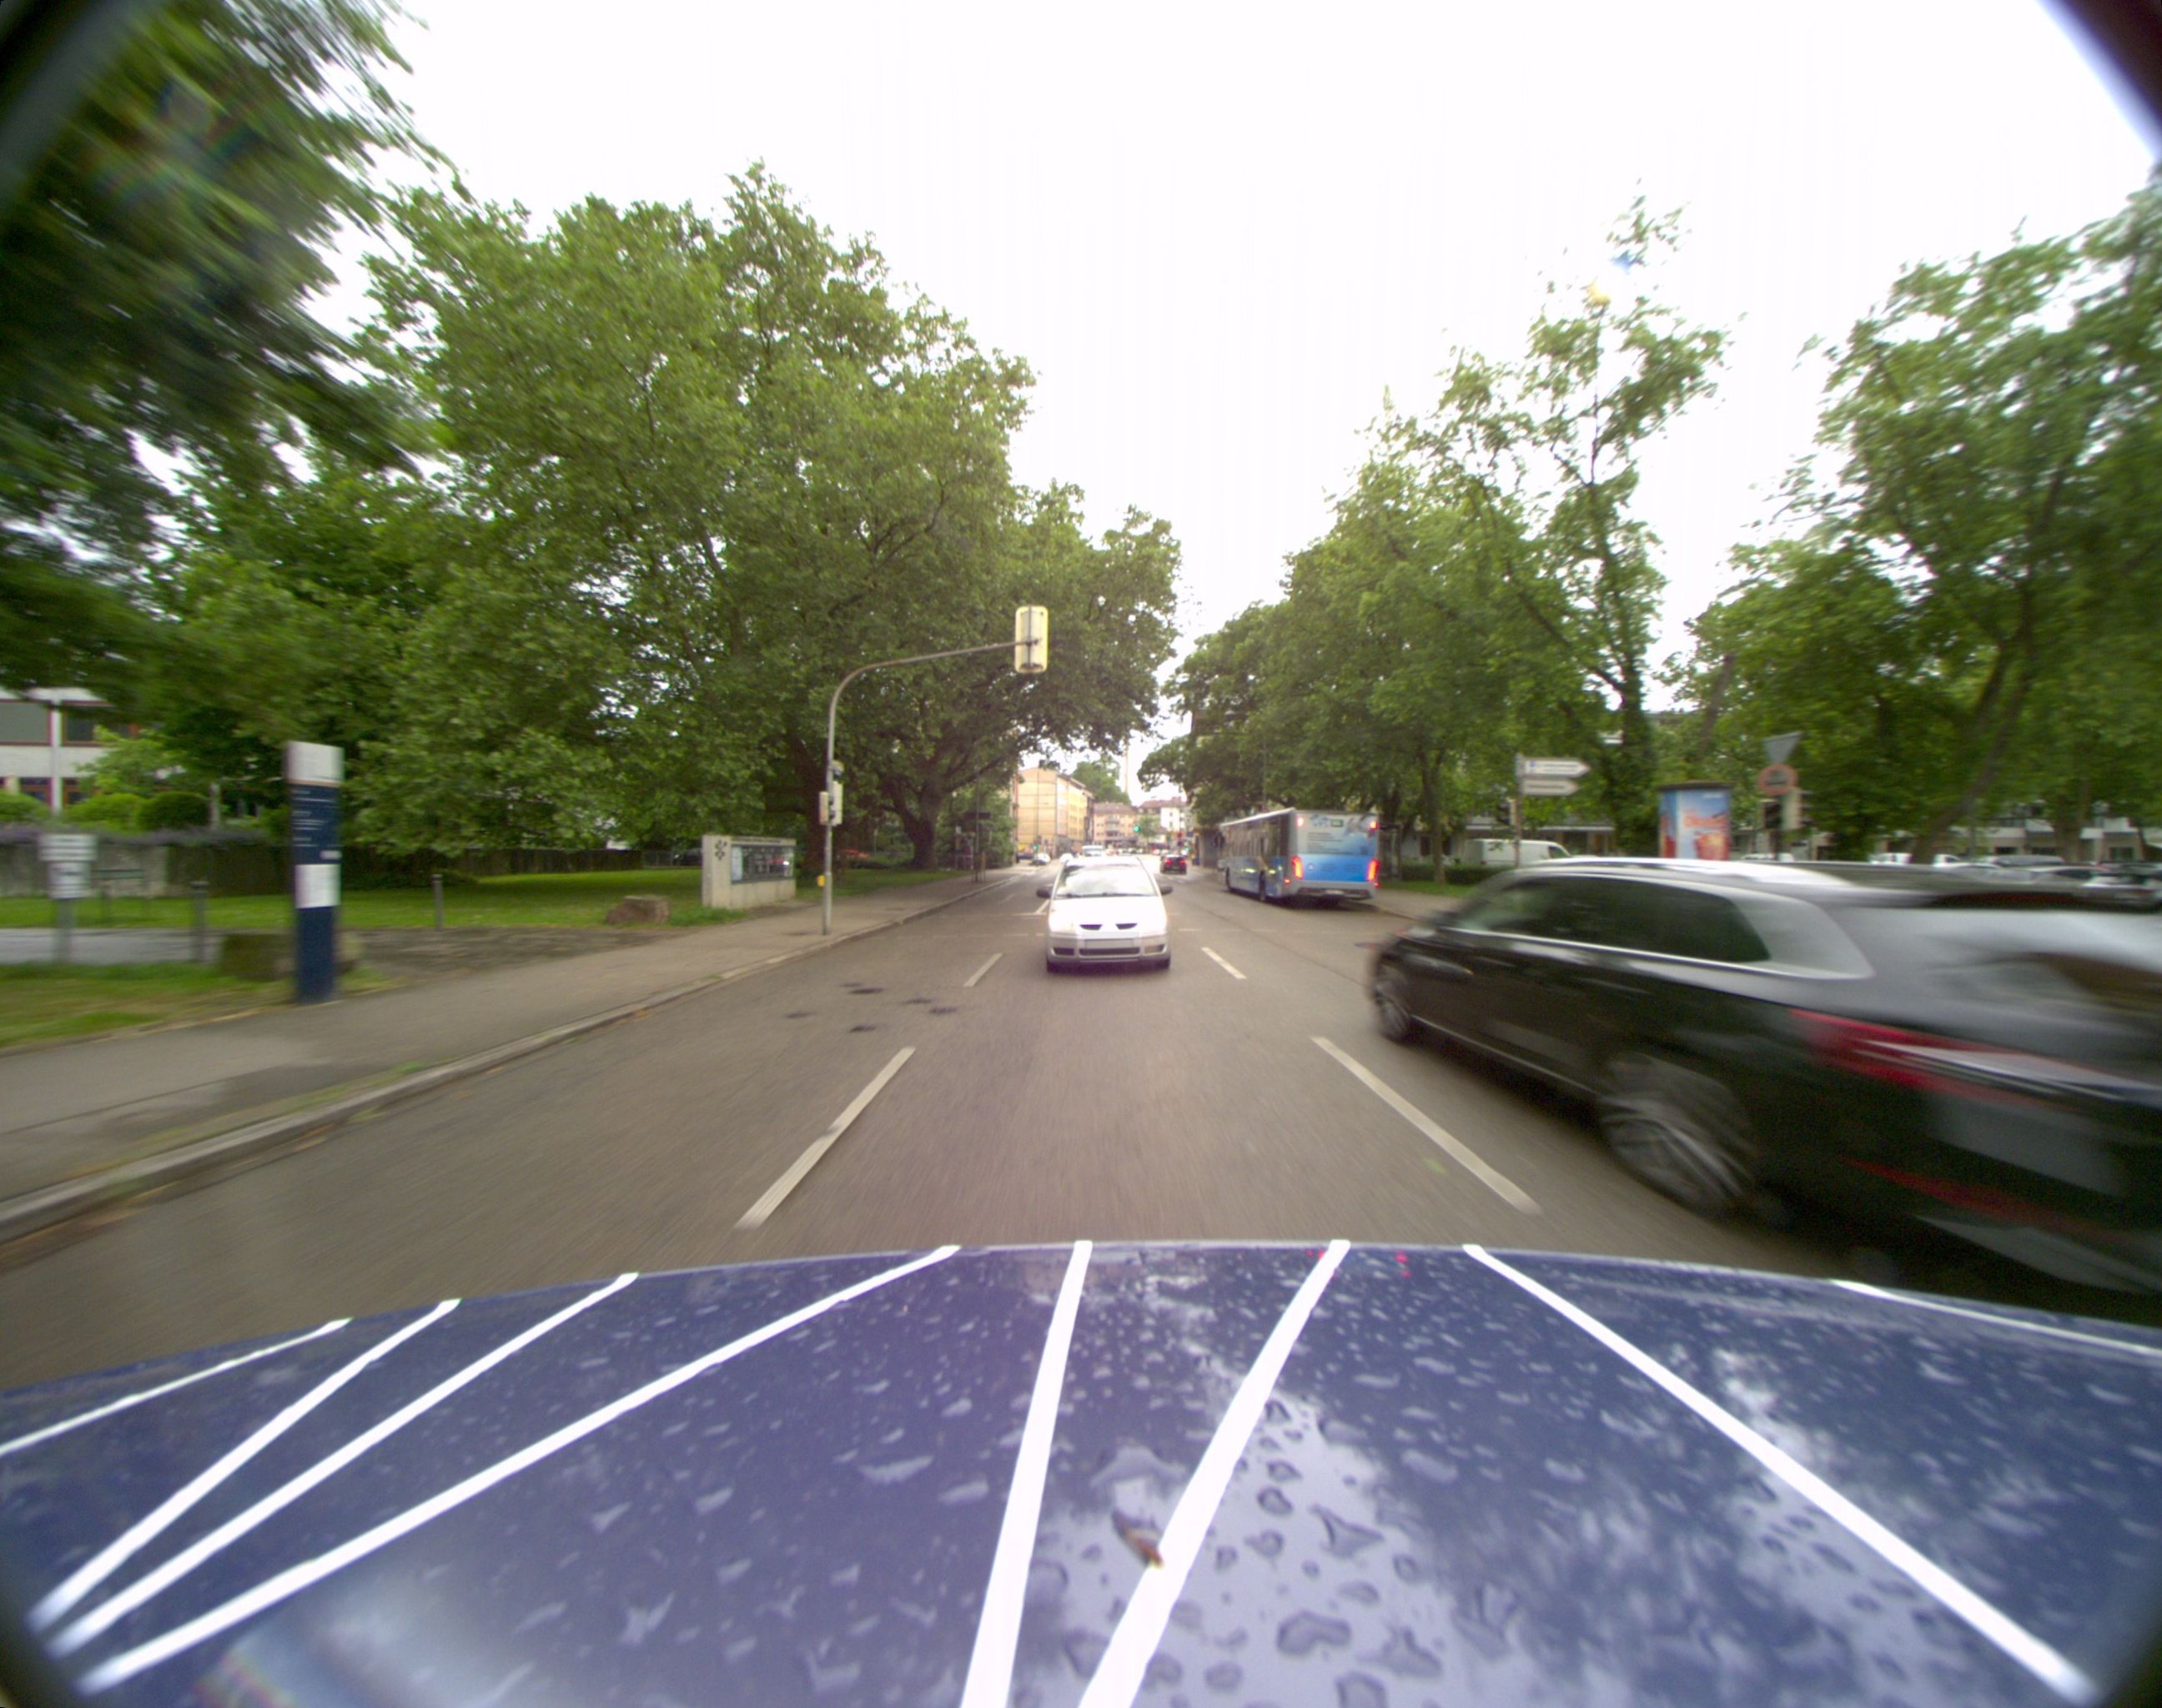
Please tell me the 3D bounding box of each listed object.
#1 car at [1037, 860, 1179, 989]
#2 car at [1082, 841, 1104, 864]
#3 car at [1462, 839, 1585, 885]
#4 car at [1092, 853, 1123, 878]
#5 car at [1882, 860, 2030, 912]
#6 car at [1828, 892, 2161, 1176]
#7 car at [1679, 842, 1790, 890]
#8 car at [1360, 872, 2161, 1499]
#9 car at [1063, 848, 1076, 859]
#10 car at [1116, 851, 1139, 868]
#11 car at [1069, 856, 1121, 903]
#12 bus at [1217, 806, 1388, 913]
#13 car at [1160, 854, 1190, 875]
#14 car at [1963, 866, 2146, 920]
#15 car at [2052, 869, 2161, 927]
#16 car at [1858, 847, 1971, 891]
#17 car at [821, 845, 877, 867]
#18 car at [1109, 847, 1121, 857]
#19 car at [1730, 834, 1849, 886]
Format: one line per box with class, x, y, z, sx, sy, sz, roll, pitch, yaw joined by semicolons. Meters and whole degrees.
car;0.356;0.897;11.839;1.718;1.509;4.807;-2;0;0
car;1.176;-0.174;72.407;2.037;2.119;4.000;0;1;2
car;19.197;0.332;33.059;4.334;1.911;1.702;1;0;-2
car;1.730;0.713;48.315;1.800;1.449;4.492;1;0;4
car;29.741;1.063;25.860;3.745;1.654;1.701;1;0;-12
car;6.672;1.054;3.599;1.817;1.407;4.809;2;1;6
car;37.554;0.671;43.773;4.580;2.597;2.000;1;0;2
car;3.343;0.916;4.177;1.801;1.449;4.489;2;0;-2
car;-1.735;-0.067;114.902;1.906;1.538;4.000;0;1;2
car;4.330;0.534;71.390;1.802;1.508;4.580;2;0;0
car;0.475;0.838;27.054;1.718;1.509;4.088;0;0;0
bus;7.264;0.077;27.320;2.700;2.923;12.083;1;1;1
car;7.334;0.784;59.741;1.802;1.508;4.807;2;0;0
car;30.227;1.191;23.653;3.828;1.529;1.702;1;0;-6
car;30.144;1.216;21.190;3.646;1.508;1.831;1;0;3
car;50.825;0.888;46.400;4.580;2.597;2.000;1;0;2
car;-18.754;0.132;61.559;3.998;1.706;1.999;1;0;-2
car;5.780;-0.348;128.833;1.906;1.538;4.000;0;1;2
car;37.163;0.309;39.927;4.584;2.597;1.999;1;0;-6
